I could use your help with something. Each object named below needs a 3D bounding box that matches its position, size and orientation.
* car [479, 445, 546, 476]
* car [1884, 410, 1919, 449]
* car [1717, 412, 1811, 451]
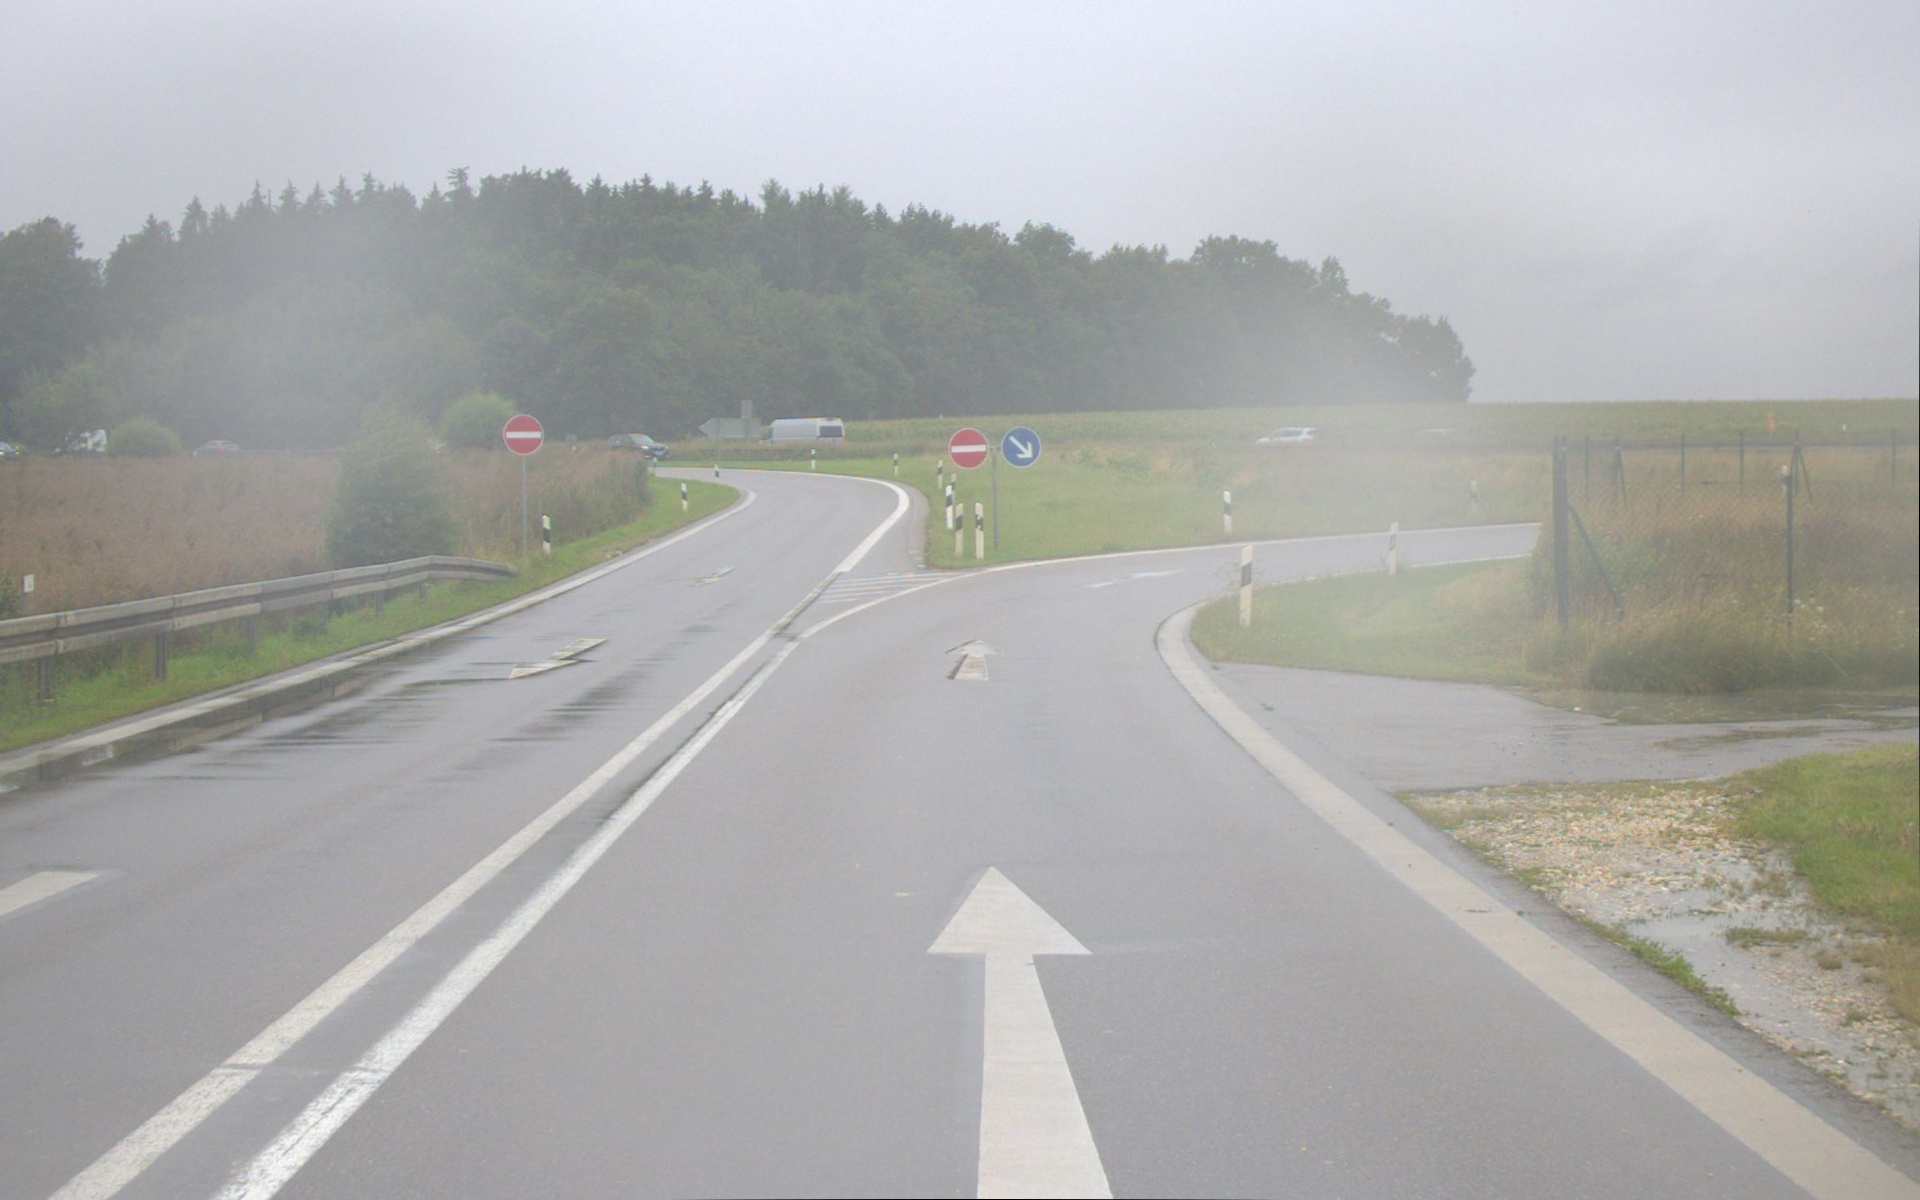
[{"bbox_3d":[-26.271,-8.163,201.886,1.867,1.730,3.998,-5,5,-42],"label":"car"},{"bbox_3d":[44.449,-7.816,157.048,1.731,1.730,3.998,-5,5,-42],"label":"car"},{"bbox_3d":[37.987,-7.965,162.472,1.731,1.730,3.998,-5,5,-42],"label":"car"}]
